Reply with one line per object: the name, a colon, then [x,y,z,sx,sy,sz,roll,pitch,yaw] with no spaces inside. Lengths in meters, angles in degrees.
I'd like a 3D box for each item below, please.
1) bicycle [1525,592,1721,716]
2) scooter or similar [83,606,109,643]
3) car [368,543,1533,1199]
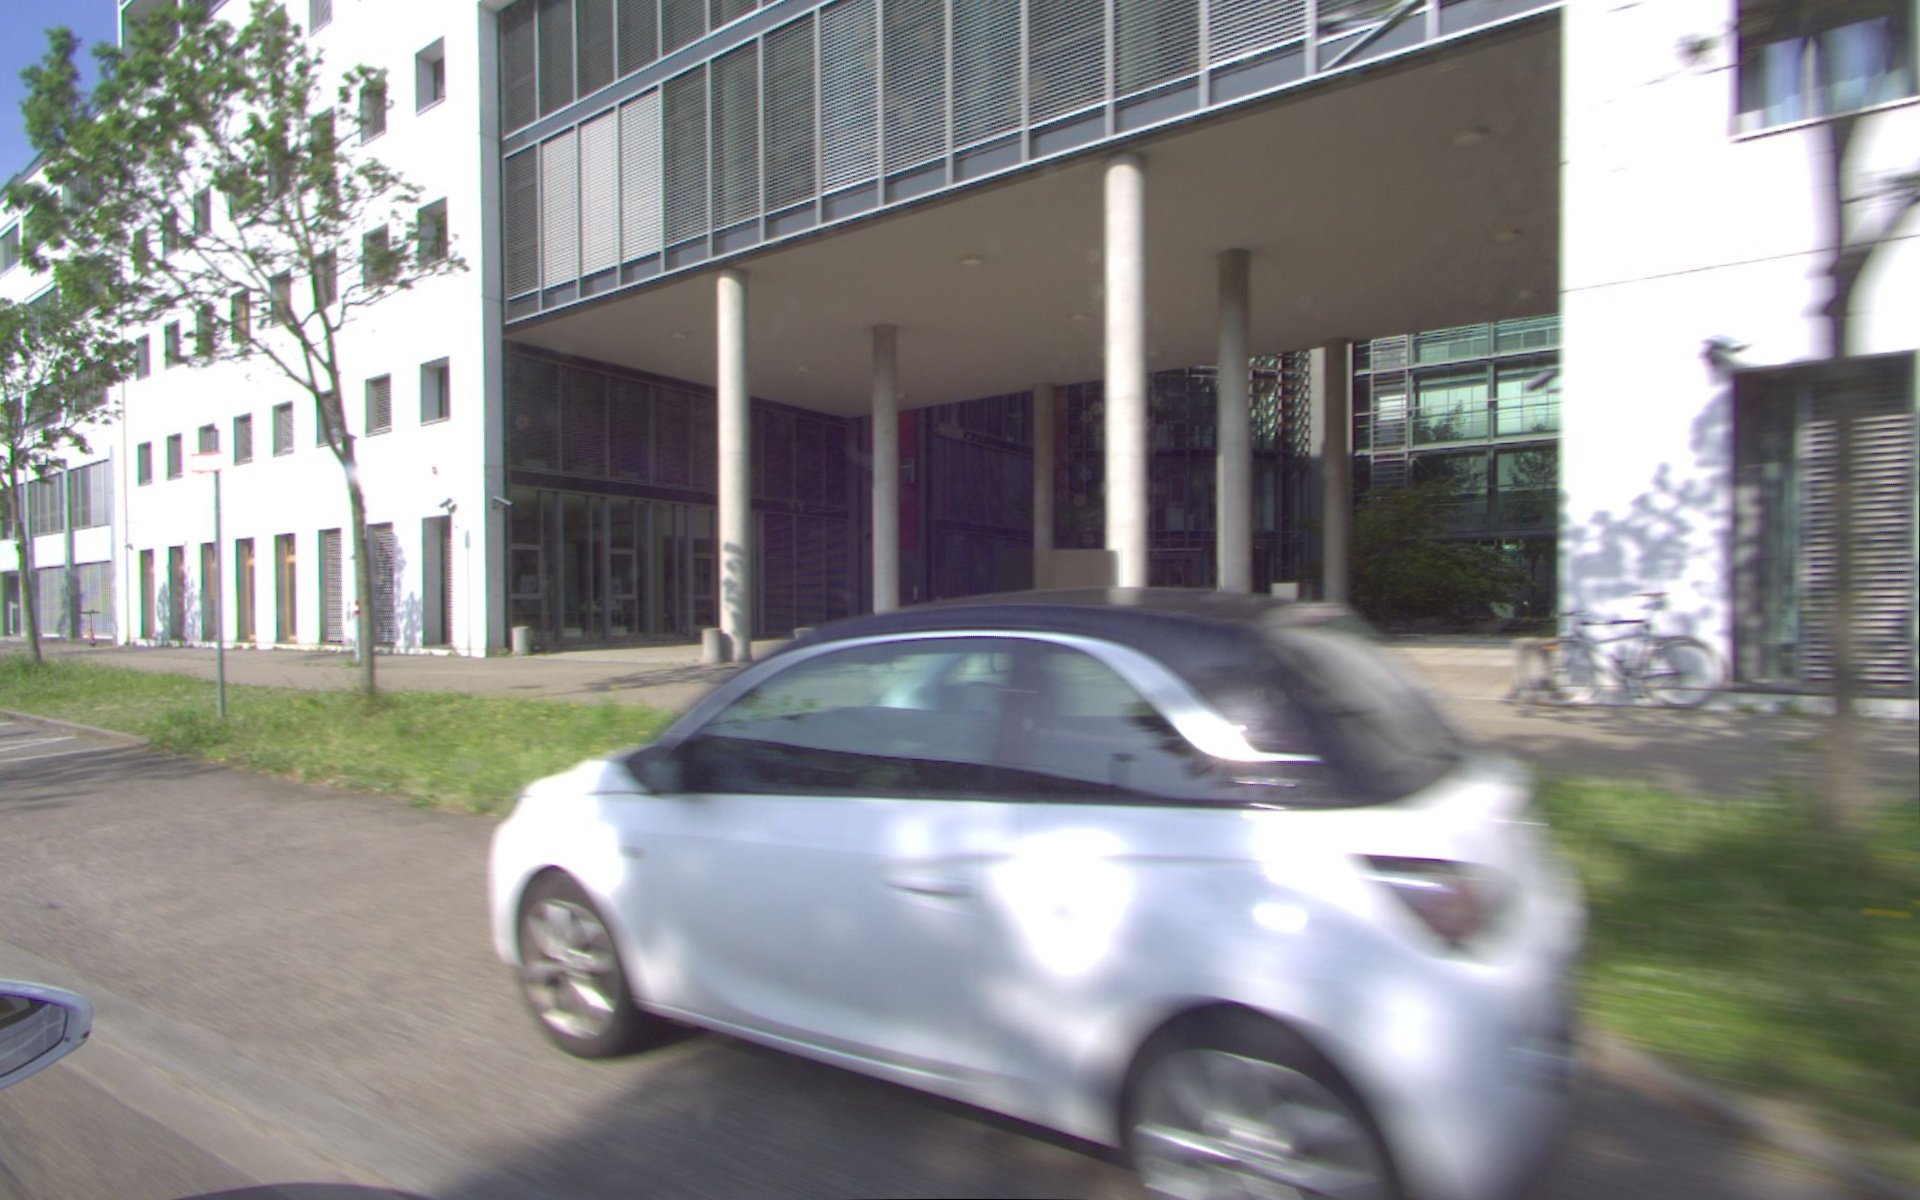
bicycle: [6.282,0.489,9.565,1.528,1.101,0.492,-1,2,32]
scooter or similar: [-29.594,0.821,34.298,1.240,1.230,0.460,0,2,41]
car: [-0.196,0.679,3.473,3.727,1.539,1.717,0,0,33]
